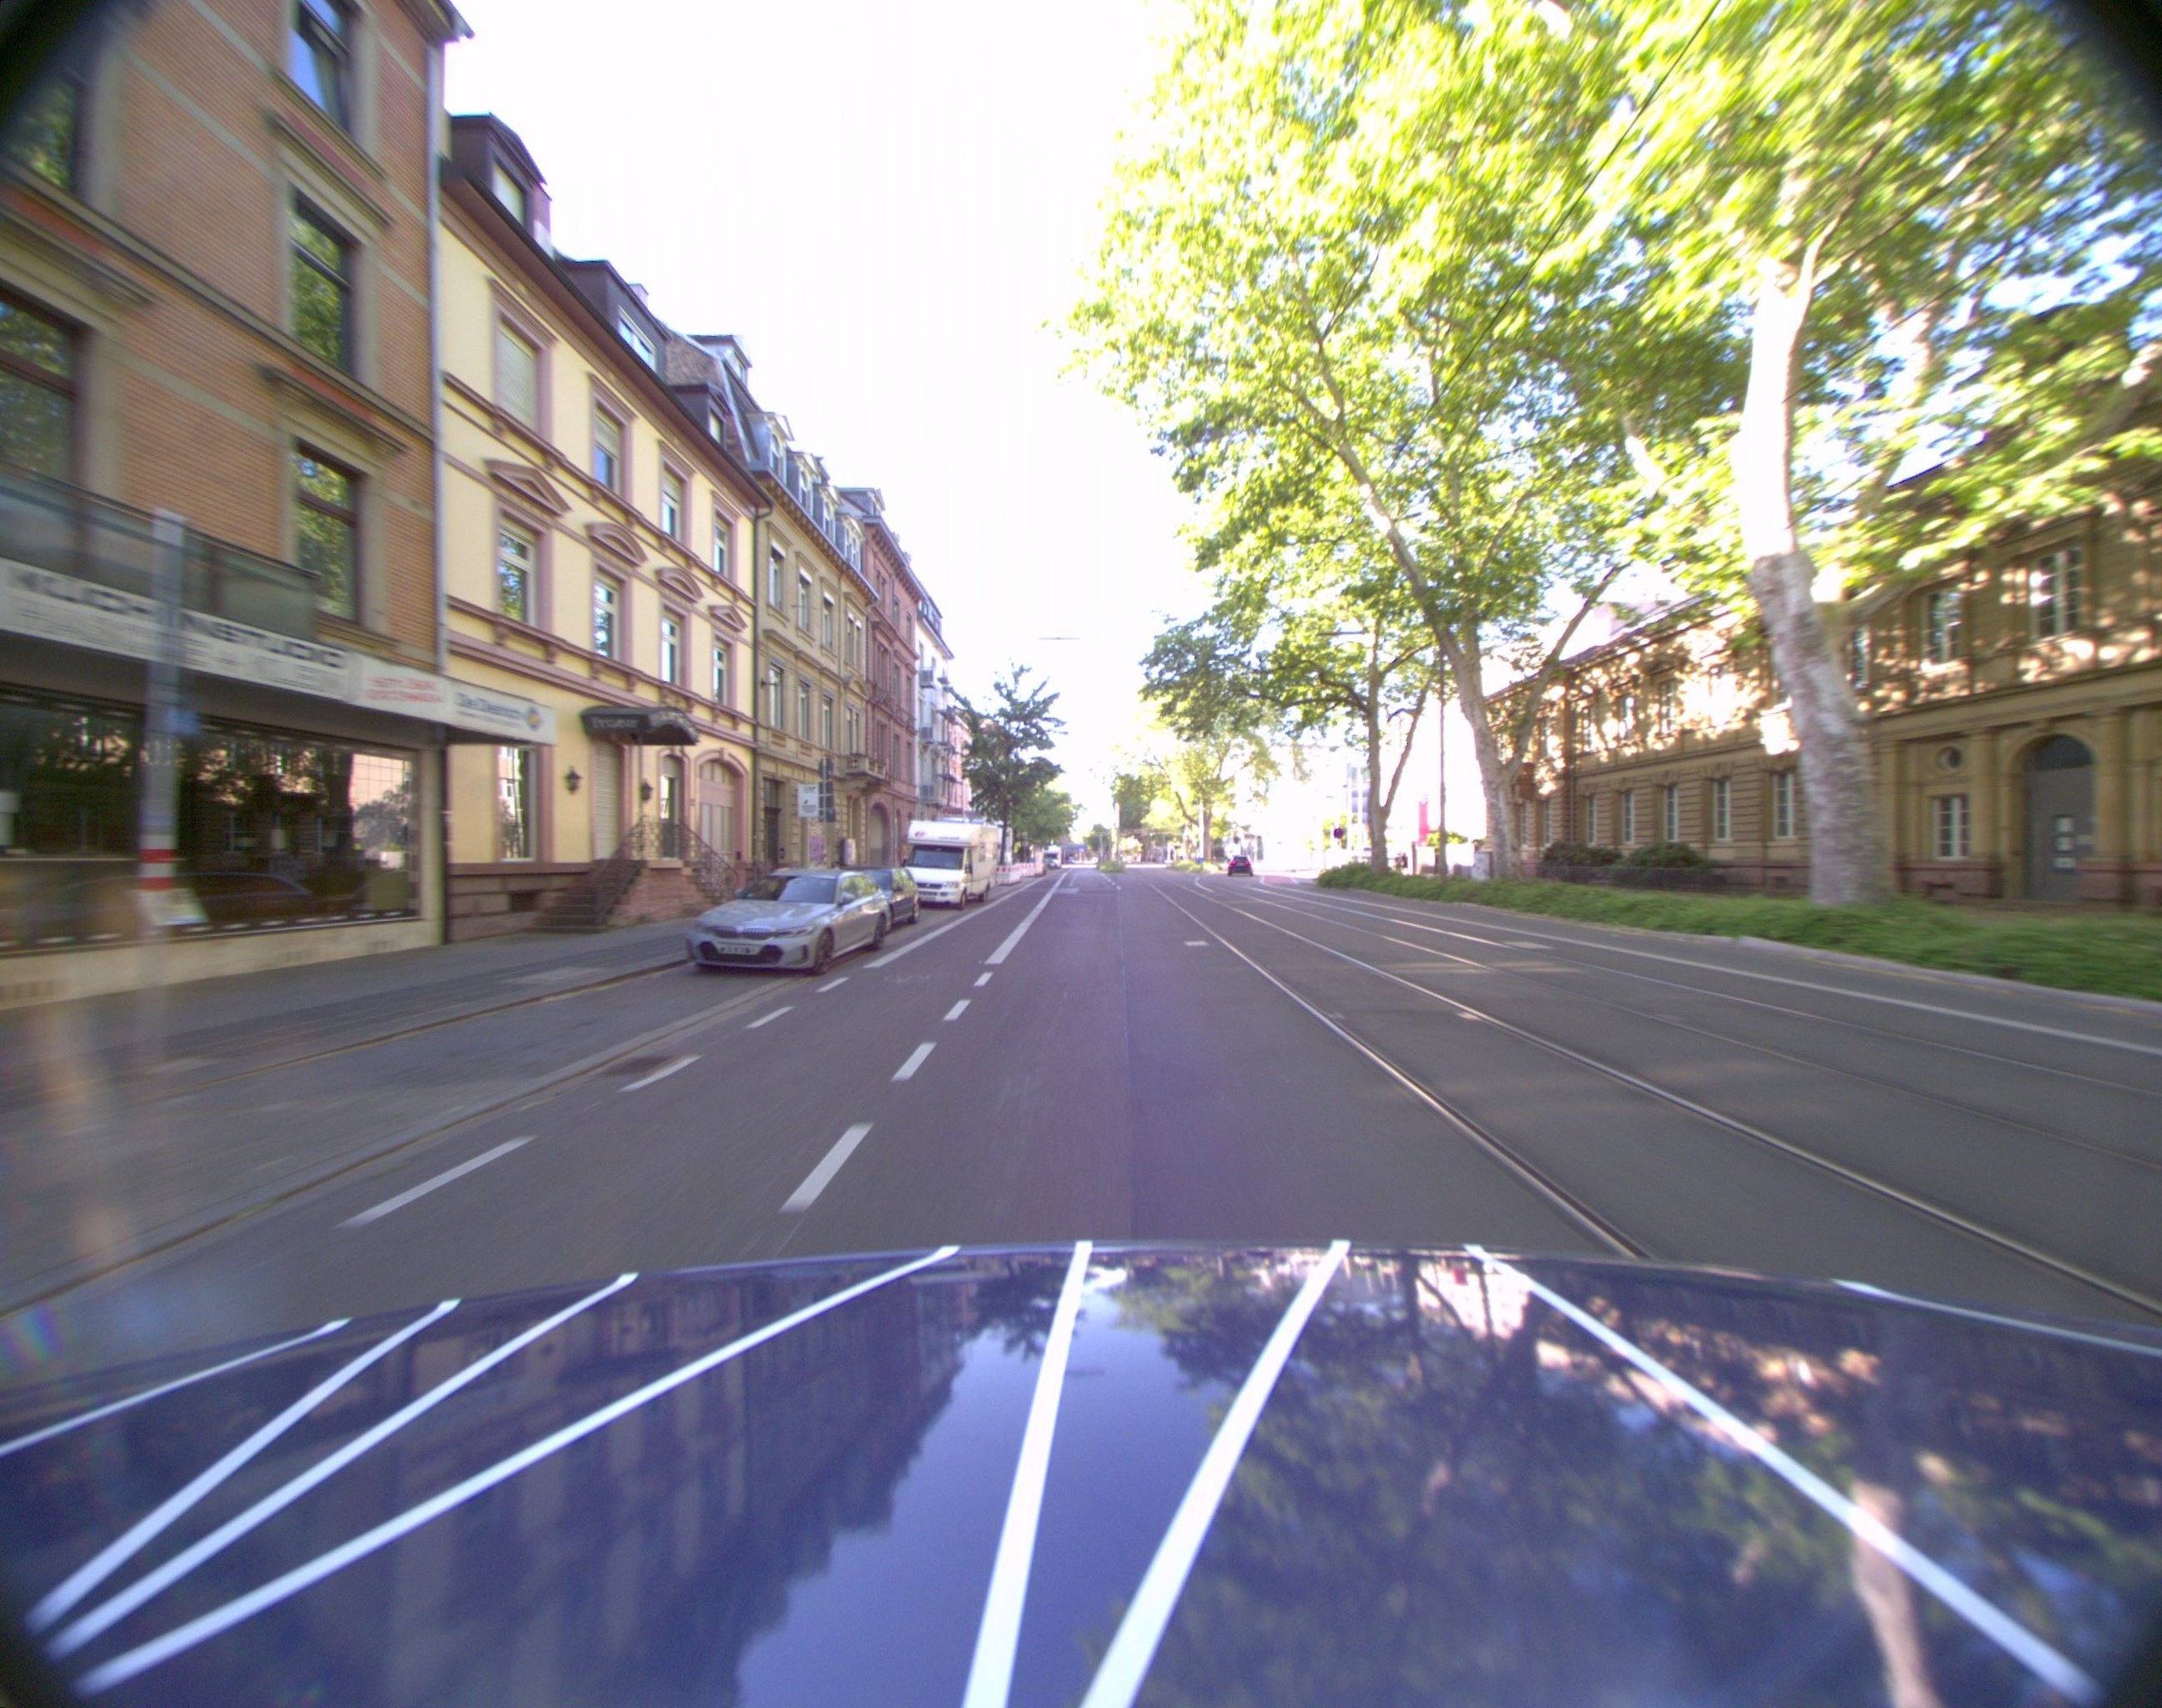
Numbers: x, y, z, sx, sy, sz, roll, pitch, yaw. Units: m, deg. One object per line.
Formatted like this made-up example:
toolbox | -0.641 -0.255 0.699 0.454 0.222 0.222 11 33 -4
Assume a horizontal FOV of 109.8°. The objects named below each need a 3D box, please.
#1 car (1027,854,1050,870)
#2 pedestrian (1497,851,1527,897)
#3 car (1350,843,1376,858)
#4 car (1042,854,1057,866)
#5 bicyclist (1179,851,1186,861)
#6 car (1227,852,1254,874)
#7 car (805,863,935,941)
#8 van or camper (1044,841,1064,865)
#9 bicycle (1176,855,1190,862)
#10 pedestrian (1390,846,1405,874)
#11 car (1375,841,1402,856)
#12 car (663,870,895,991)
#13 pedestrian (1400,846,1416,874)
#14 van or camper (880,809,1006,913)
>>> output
car | -4.035 0.752 73.214 1.767 1.475 4.110 1 0 3
pedestrian | 17.730 0.805 31.287 0.721 1.839 0.837 -1 1 -3
car | 34.855 -0.467 94.005 1.852 1.807 4.000 -1 0 1
car | -3.761 0.718 90.334 1.656 1.439 3.800 1 0 0
bicyclist | 15.423 0.301 115.718 1.007 1.567 0.760 -1 1 0
car | 12.476 0.689 59.122 1.869 1.620 4.565 0 0 14
car | -4.699 1.008 17.495 1.648 1.426 4.029 3 1 3
van or camper | -3.479 -0.118 100.676 2.172 3.074 7.290 1 0 1
bicycle | 15.523 0.699 115.723 2.082 1.122 0.760 -1 1 0
pedestrian | 19.273 0.352 46.268 0.635 1.687 0.656 -1 1 -3
car | 37.646 -0.710 93.127 1.852 1.742 4.000 -1 0 1
car | -4.516 1.045 12.247 1.814 1.426 4.664 1 1 1
pedestrian | 19.957 0.355 46.354 0.673 1.687 0.661 -1 1 -6
van or camper | -4.483 0.173 26.435 2.483 2.955 7.884 3 1 3
